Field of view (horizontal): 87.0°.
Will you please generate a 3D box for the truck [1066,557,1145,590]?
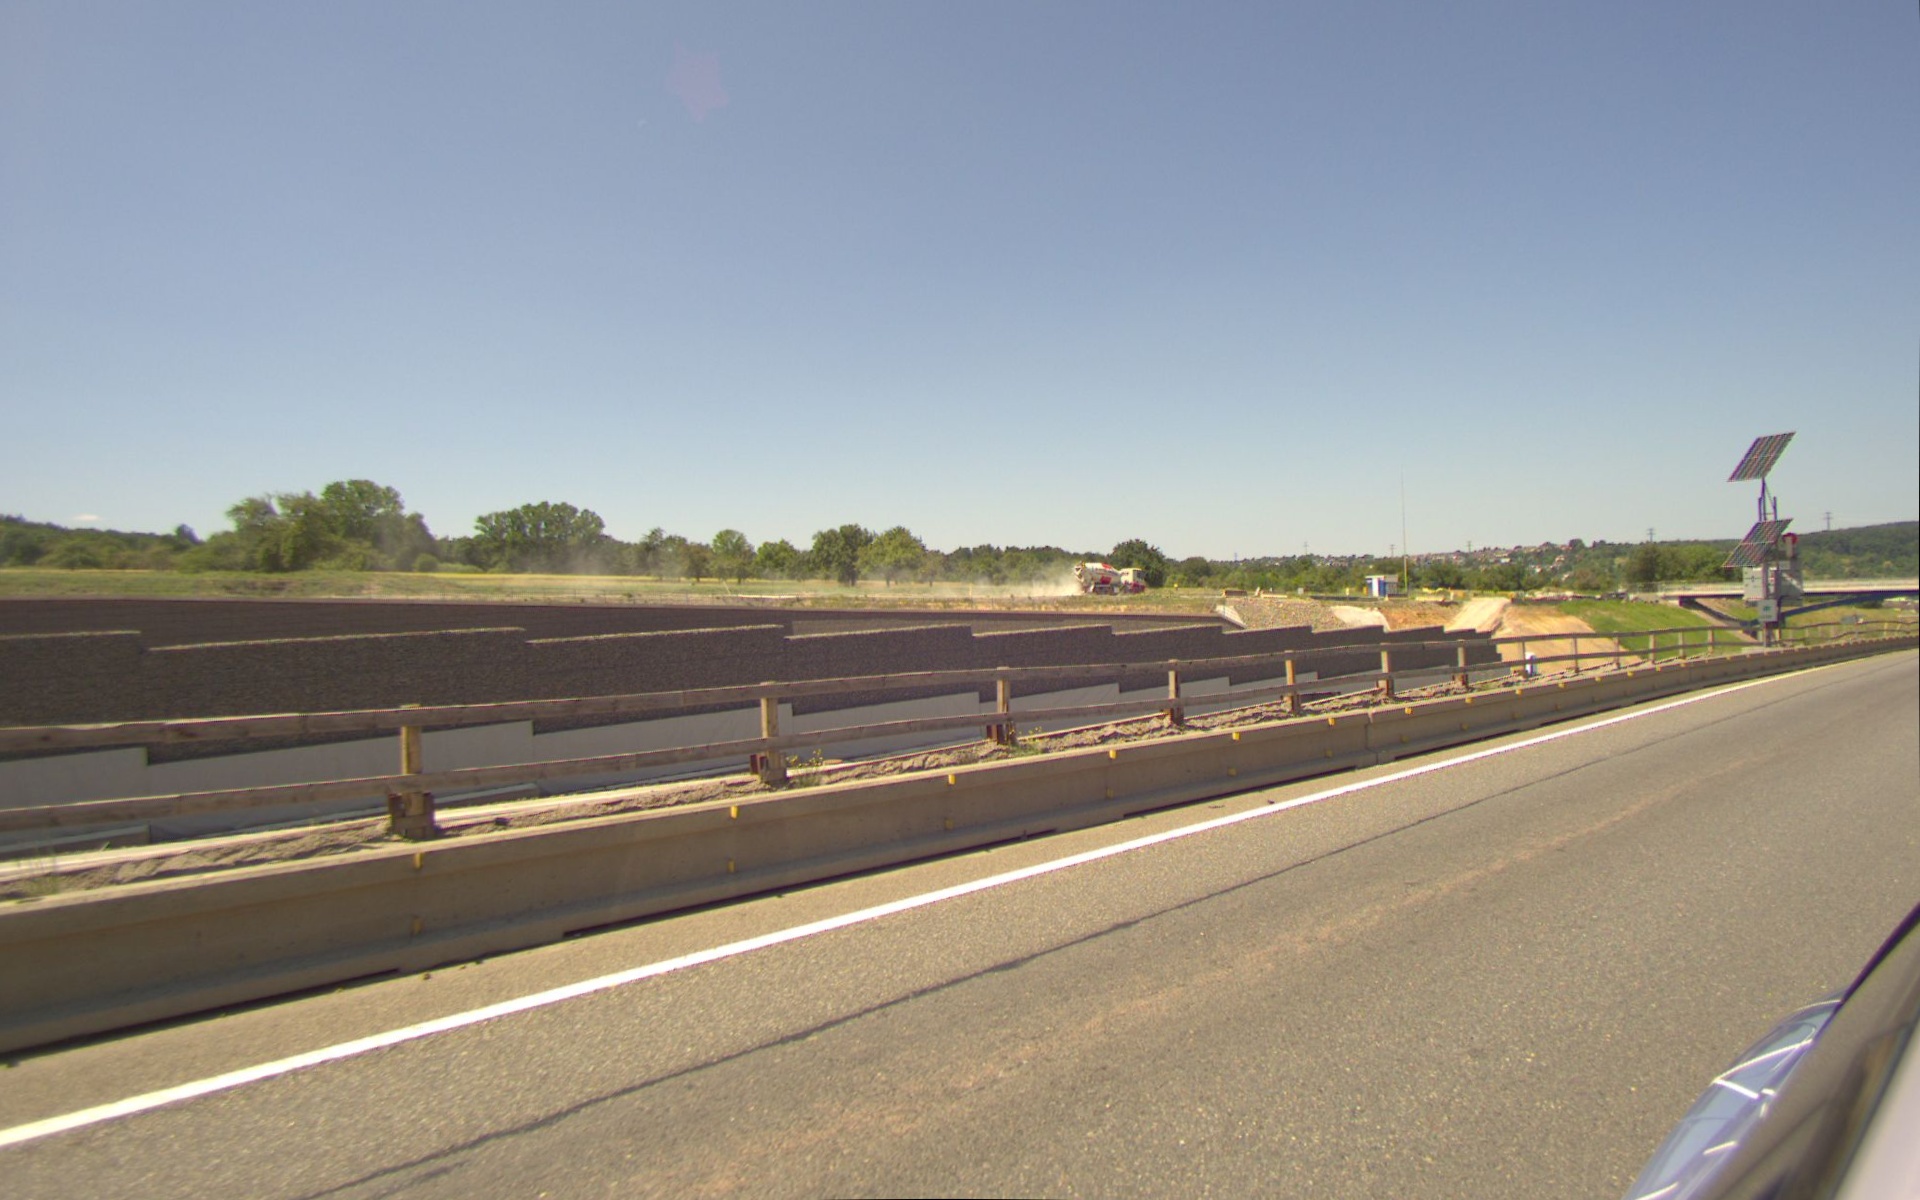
[{"bbox_3d":[16.381,-2.897,113.533,8.579,3.510,3.161,0,-1,-29],"label":"truck"}]
